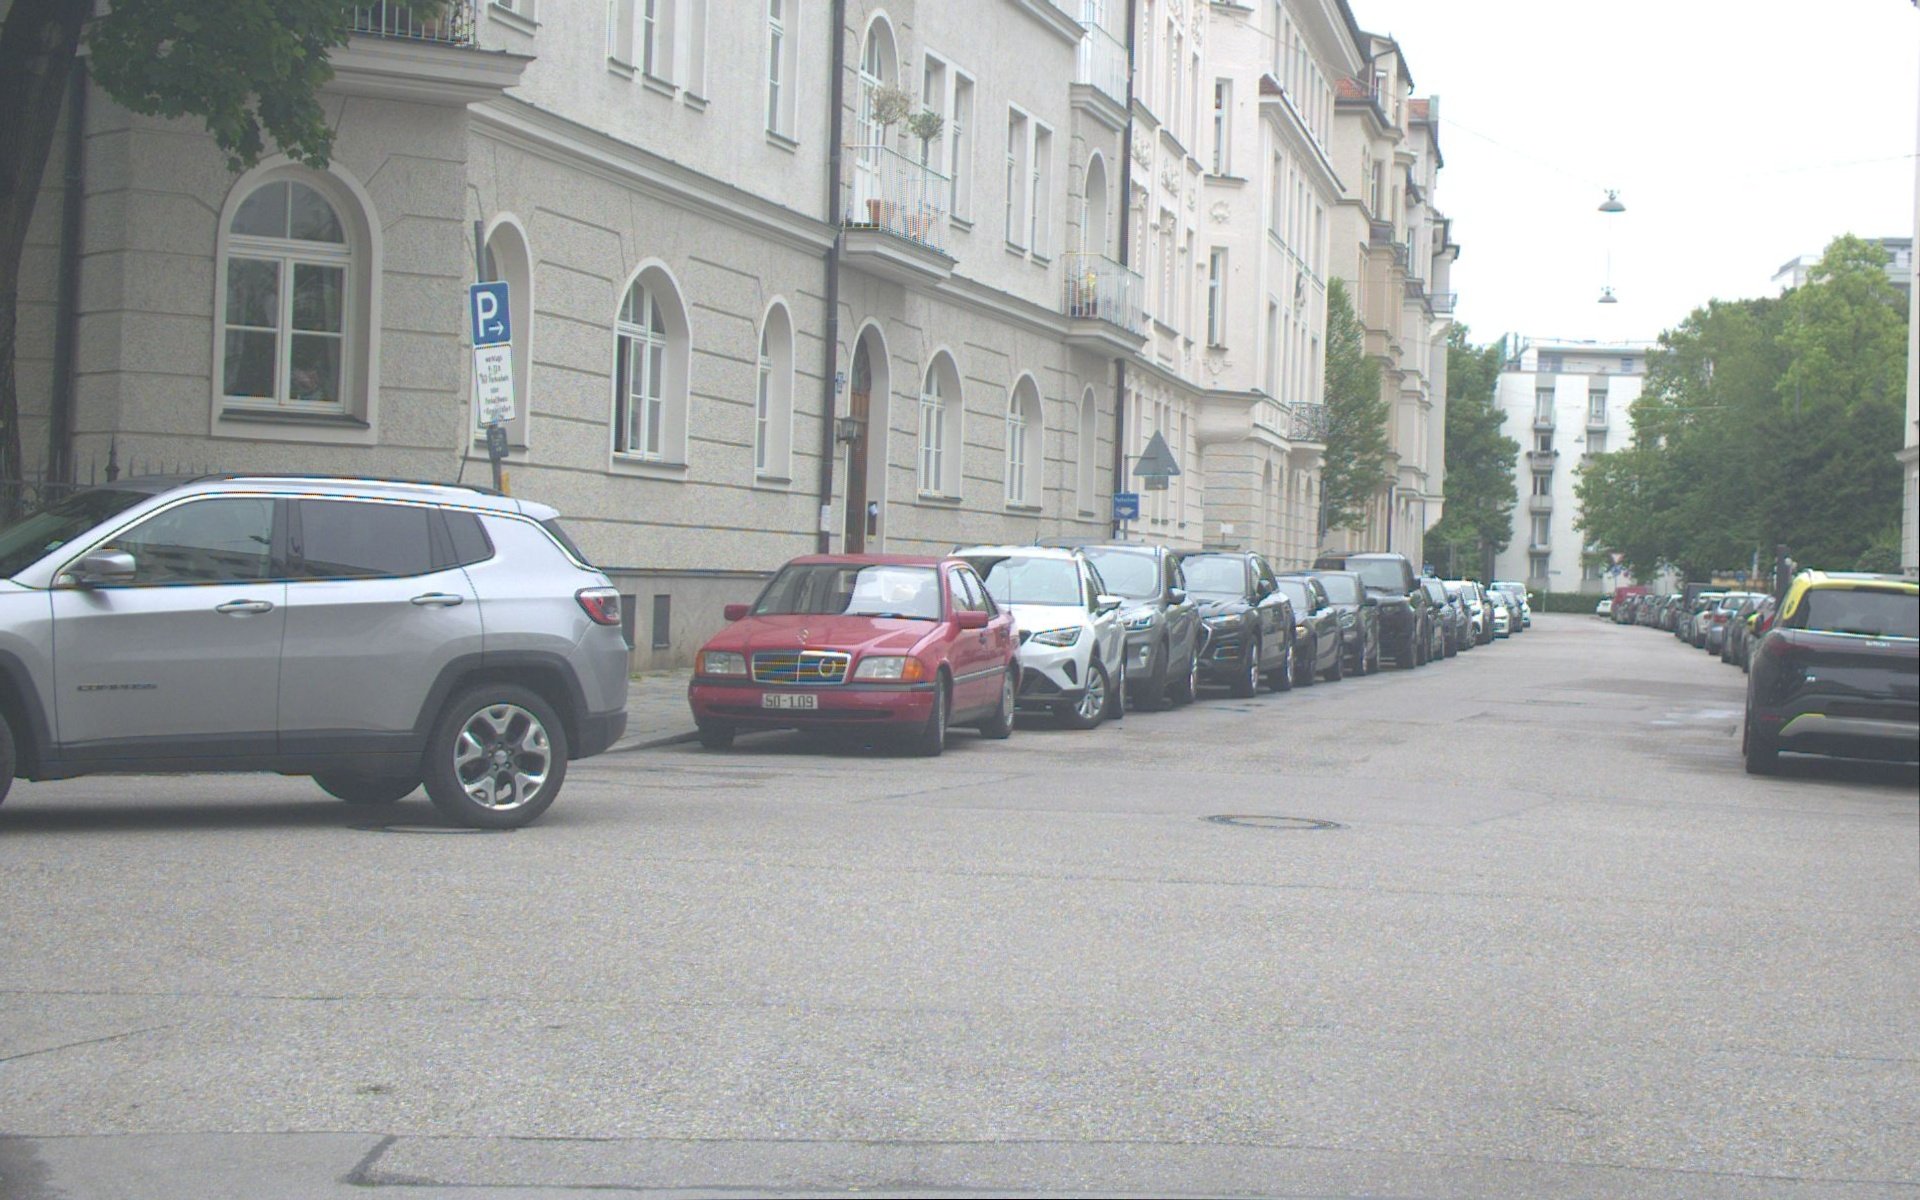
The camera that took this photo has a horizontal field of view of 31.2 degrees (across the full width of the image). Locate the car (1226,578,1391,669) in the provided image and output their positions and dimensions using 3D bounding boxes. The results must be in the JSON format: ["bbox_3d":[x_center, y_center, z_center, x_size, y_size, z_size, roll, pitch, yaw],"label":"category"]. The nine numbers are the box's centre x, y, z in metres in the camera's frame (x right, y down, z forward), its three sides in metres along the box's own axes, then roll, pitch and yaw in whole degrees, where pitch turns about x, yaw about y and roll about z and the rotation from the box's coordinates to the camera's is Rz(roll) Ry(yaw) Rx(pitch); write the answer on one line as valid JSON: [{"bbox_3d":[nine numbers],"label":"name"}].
[{"bbox_3d":[5.248,0.322,51.332,1.908,1.218,3.998,2,1,13],"label":"car"}]

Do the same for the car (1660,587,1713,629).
[{"bbox_3d":[29.544,0.314,139.914,1.951,1.646,3.998,1,0,10],"label":"car"}]

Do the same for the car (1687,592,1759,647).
[{"bbox_3d":[21.167,0.518,95.508,1.730,1.413,3.850,2,1,10],"label":"car"}]

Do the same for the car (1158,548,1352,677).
[{"bbox_3d":[3.948,0.138,45.436,1.927,1.541,3.998,3,1,13],"label":"car"}]

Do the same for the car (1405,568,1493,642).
[{"bbox_3d":[11.217,0.099,78.719,1.821,1.568,3.998,2,1,10],"label":"car"}]

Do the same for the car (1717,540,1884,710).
[{"bbox_3d":[10.630,0.285,43.692,1.821,1.917,4.181,4,1,12],"label":"car"}]

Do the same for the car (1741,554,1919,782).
[{"bbox_3d":[7.394,0.522,28.090,1.821,1.630,4.286,4,1,12],"label":"car"}]

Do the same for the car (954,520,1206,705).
[{"bbox_3d":[1.271,0.098,34.566,1.994,1.670,4.011,2,1,9],"label":"car"}]

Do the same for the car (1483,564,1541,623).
[{"bbox_3d":[19.757,-0.243,122.932,1.847,2.007,3.998,2,1,10],"label":"car"}]

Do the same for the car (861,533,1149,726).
[{"bbox_3d":[0.475,0.213,29.784,1.994,1.468,4.217,2,1,7],"label":"car"}]

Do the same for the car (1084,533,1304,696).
[{"bbox_3d":[2.734,0.134,39.239,1.994,1.670,4.287,2,1,10],"label":"car"}]

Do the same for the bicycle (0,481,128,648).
[{"bbox_3d":[-6.180,-0.263,23.300,0.493,1.049,1.827,2,3,4],"label":"bicycle"}]

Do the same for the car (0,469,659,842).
[{"bbox_3d":[-3.804,0.225,16.150,4.294,1.602,1.964,1,1,-32],"label":"car"}]

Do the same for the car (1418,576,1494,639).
[{"bbox_3d":[12.232,0.165,84.592,1.734,1.415,3.998,2,1,9],"label":"car"}]

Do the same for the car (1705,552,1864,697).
[{"bbox_3d":[11.603,0.305,48.262,1.995,1.850,4.342,3,1,14],"label":"car"}]

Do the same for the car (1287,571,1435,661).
[{"bbox_3d":[6.568,0.231,56.002,1.908,1.324,3.998,2,1,13],"label":"car"}]

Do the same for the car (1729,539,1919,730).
[{"bbox_3d":[9.545,0.342,38.170,1.821,1.864,4.286,4,1,12],"label":"car"}]

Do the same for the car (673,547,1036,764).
[{"bbox_3d":[-0.664,0.348,25.040,1.731,1.373,4.225,2,1,11],"label":"car"}]

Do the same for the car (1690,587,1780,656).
[{"bbox_3d":[19.126,0.500,84.979,1.907,1.571,3.998,2,1,10],"label":"car"}]

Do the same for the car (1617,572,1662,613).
[{"bbox_3d":[35.365,-0.393,178.909,1.994,1.975,4.891,3,1,9],"label":"car"}]

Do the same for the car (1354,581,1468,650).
[{"bbox_3d":[8.873,0.276,67.386,1.907,1.218,3.998,2,1,11],"label":"car"}]

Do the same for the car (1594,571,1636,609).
[{"bbox_3d":[36.028,-0.566,189.171,1.994,1.975,4.891,3,1,9],"label":"car"}]
